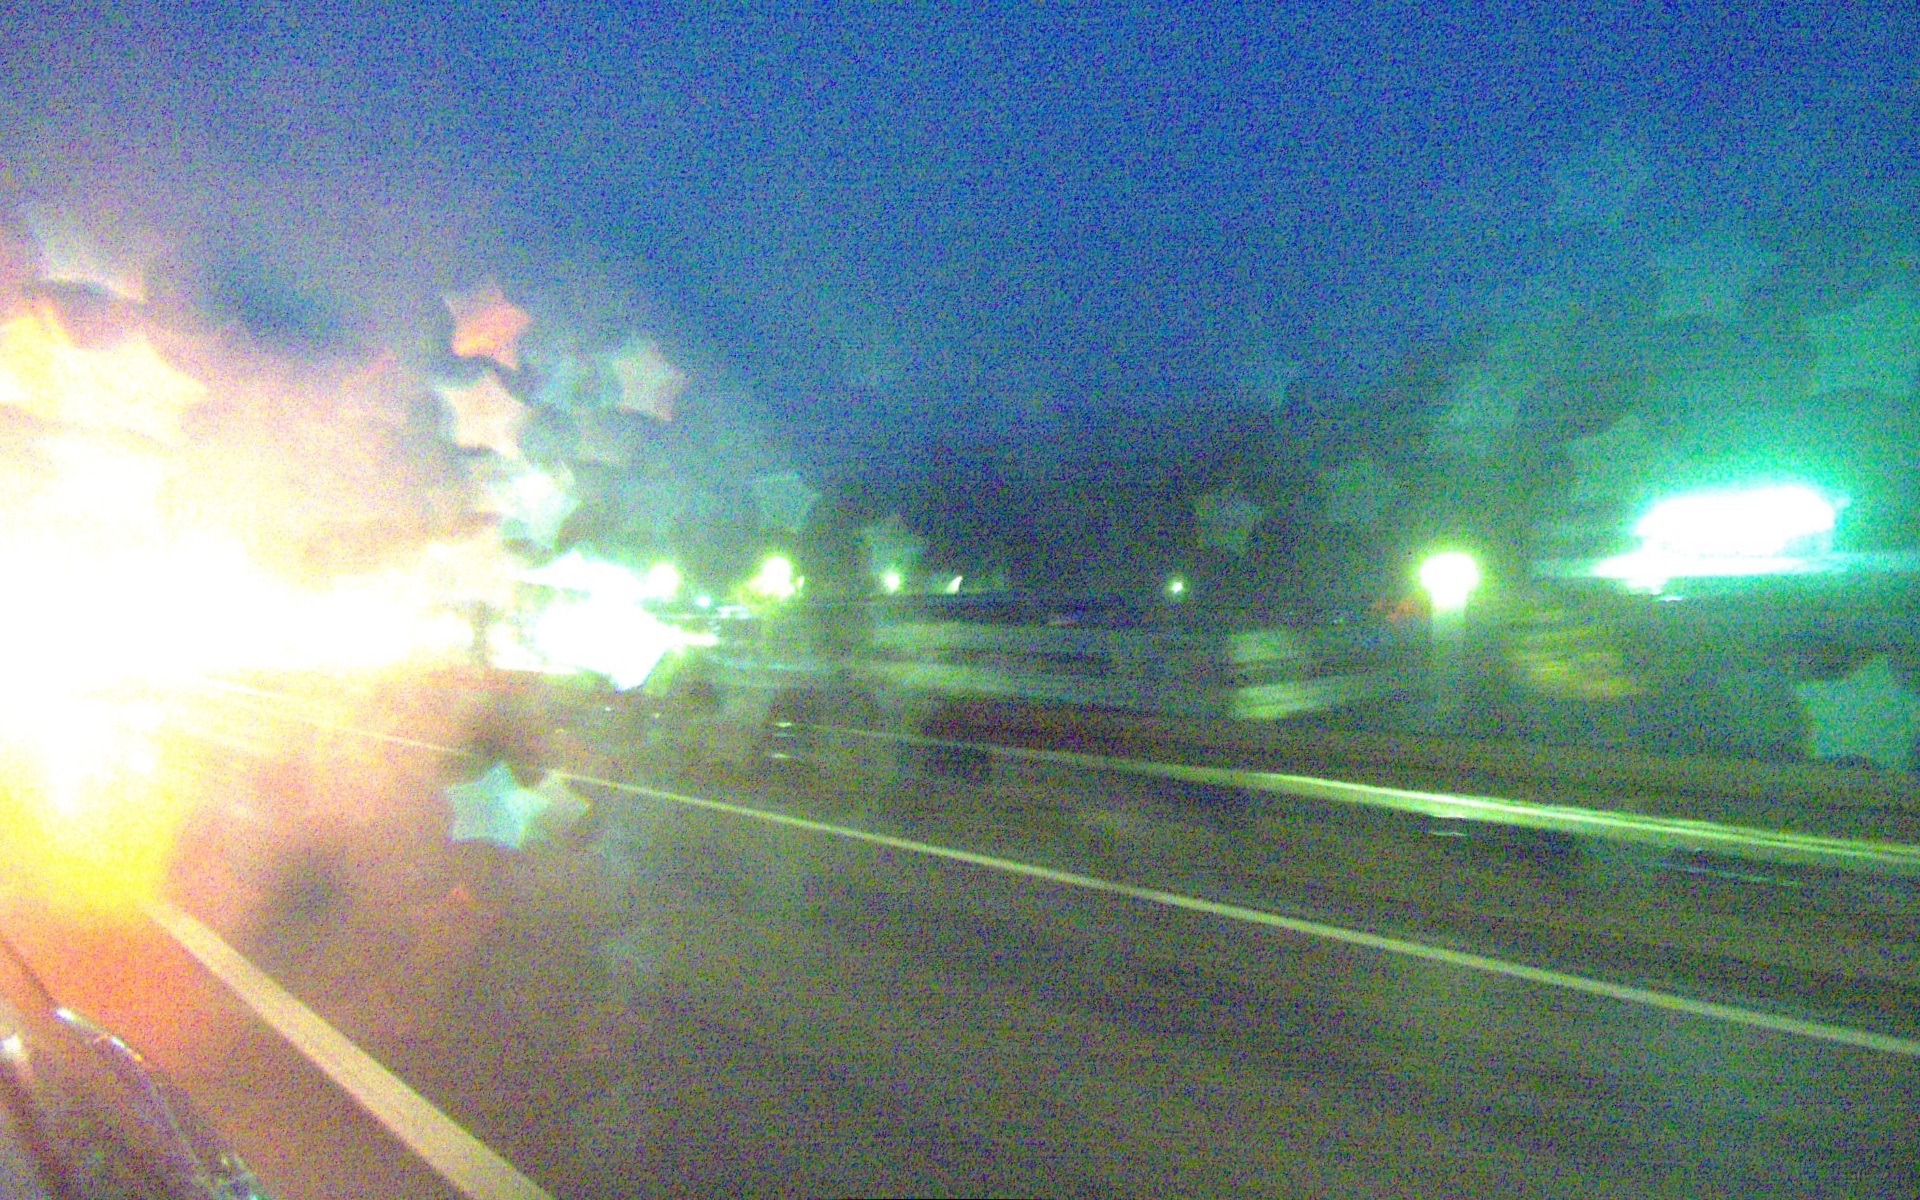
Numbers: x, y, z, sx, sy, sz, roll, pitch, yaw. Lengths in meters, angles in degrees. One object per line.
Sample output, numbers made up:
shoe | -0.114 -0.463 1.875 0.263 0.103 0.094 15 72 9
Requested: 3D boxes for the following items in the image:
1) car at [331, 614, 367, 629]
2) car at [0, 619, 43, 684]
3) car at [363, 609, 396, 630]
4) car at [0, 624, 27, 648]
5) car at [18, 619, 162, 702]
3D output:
car | -73.886 2.646 122.433 4.430 1.706 1.833 -1 -1 30
car | -26.768 1.395 27.999 4.519 1.695 1.636 -1 -1 42
car | -67.519 2.231 117.707 1.970 2.325 6.026 -1 -1 -44
car | -58.557 2.193 62.148 1.782 1.393 4.776 -1 -1 -43
car | -18.018 1.184 20.904 3.859 1.531 1.675 -1 -1 40
